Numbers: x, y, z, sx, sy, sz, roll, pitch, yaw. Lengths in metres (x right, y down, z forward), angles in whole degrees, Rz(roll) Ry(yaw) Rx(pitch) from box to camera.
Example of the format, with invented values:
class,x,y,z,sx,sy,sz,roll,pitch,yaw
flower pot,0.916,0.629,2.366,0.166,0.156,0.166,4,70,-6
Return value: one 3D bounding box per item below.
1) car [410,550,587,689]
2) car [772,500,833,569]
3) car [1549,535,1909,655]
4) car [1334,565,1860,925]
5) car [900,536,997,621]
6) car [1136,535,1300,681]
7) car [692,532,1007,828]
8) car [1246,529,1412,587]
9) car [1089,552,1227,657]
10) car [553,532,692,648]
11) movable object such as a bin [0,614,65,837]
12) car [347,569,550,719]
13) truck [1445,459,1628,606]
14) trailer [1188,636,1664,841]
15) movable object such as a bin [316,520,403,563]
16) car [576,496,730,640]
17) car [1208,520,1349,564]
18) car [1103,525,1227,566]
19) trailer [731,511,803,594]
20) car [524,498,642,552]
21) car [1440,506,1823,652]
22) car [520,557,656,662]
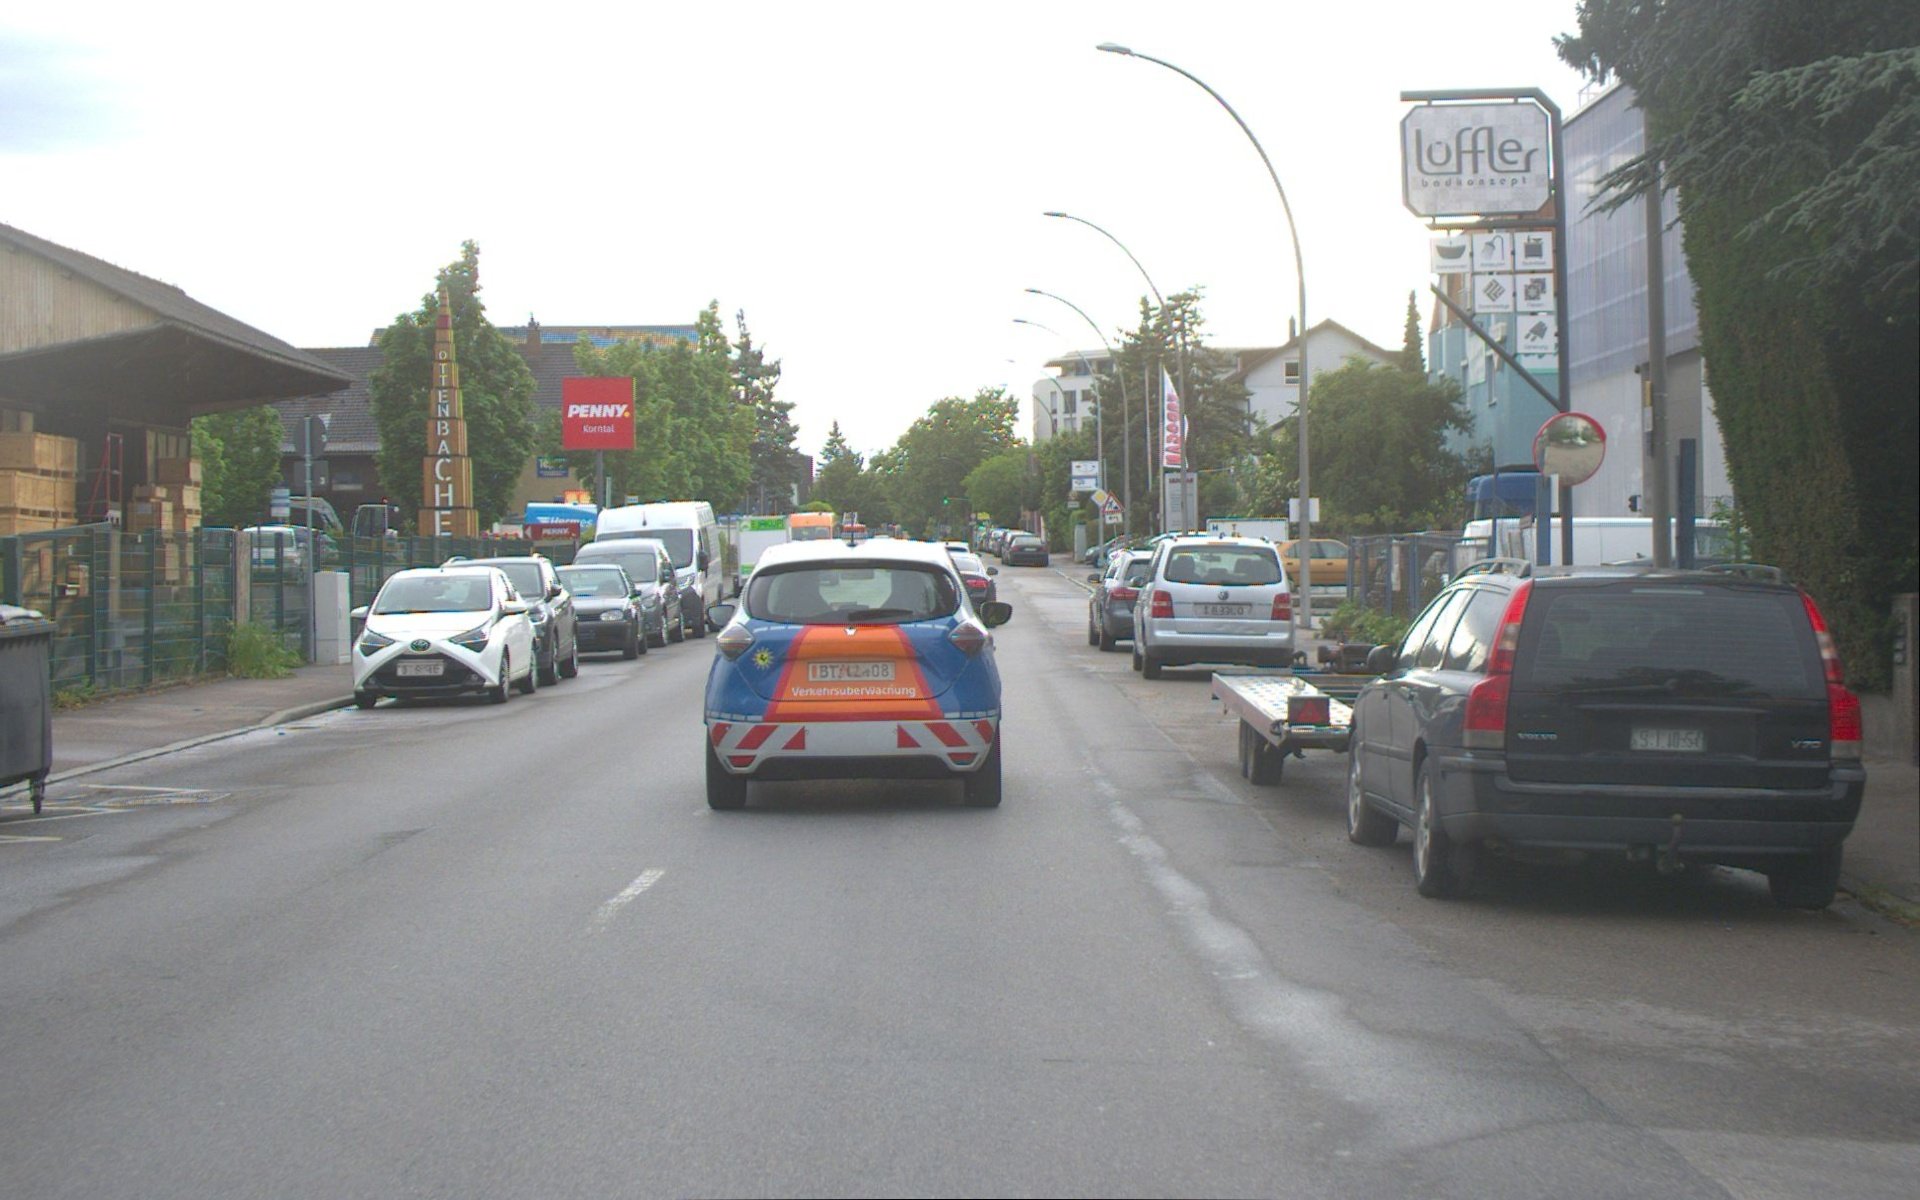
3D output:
class,x,y,z,sx,sy,sz,roll,pitch,yaw
car,-5.695,0.203,42.785,1.661,1.579,3.917,-3,1,-1
car,-5.984,-2.515,131.625,2.124,2.529,6.023,-2,1,-1
car,9.692,-0.073,43.578,4.103,1.452,2.000,0,1,0
car,2.822,0.561,16.207,1.740,1.428,4.648,0,1,2
car,-0.234,-0.409,63.263,1.650,1.516,4.000,0,1,-2
car,2.996,0.063,40.654,1.739,1.616,4.373,0,1,2
car,-0.646,0.421,20.920,1.731,1.625,3.495,-1,1,-1
car,9.328,-1.077,86.973,3.986,1.425,1.631,0,1,-1
car,2.859,0.030,50.484,1.738,1.461,4.546,0,1,0
car,-5.693,-0.190,58.378,1.769,1.762,4.446,-4,1,0
movable object such as a bin,-6.268,0.753,21.249,1.100,1.306,1.425,0,1,0
car,-5.579,0.445,37.858,1.616,1.504,3.660,-2,1,0
truck,15.198,-1.776,90.817,4.143,3.661,2.720,2,1,-2
trailer,2.815,0.808,22.457,2.173,0.894,6.637,0,1,0
movable object such as a bin,-24.747,-2.403,141.829,3.421,1.753,2.000,0,1,-6
car,-5.666,-0.632,64.165,2.158,2.418,6.460,-4,1,0
car,10.393,-1.883,112.418,4.415,1.388,1.880,0,1,-1
car,7.344,-1.949,123.390,4.338,1.470,1.903,0,1,-1
trailer,-5.680,-1.416,101.569,1.812,2.306,4.731,-3,1,-1
car,-14.545,-2.888,132.634,4.306,2.007,2.063,0,1,0
car,8.941,-0.283,46.087,4.731,1.880,2.000,0,1,0
car,-5.583,0.112,51.940,1.661,1.443,4.318,-2,1,-2
